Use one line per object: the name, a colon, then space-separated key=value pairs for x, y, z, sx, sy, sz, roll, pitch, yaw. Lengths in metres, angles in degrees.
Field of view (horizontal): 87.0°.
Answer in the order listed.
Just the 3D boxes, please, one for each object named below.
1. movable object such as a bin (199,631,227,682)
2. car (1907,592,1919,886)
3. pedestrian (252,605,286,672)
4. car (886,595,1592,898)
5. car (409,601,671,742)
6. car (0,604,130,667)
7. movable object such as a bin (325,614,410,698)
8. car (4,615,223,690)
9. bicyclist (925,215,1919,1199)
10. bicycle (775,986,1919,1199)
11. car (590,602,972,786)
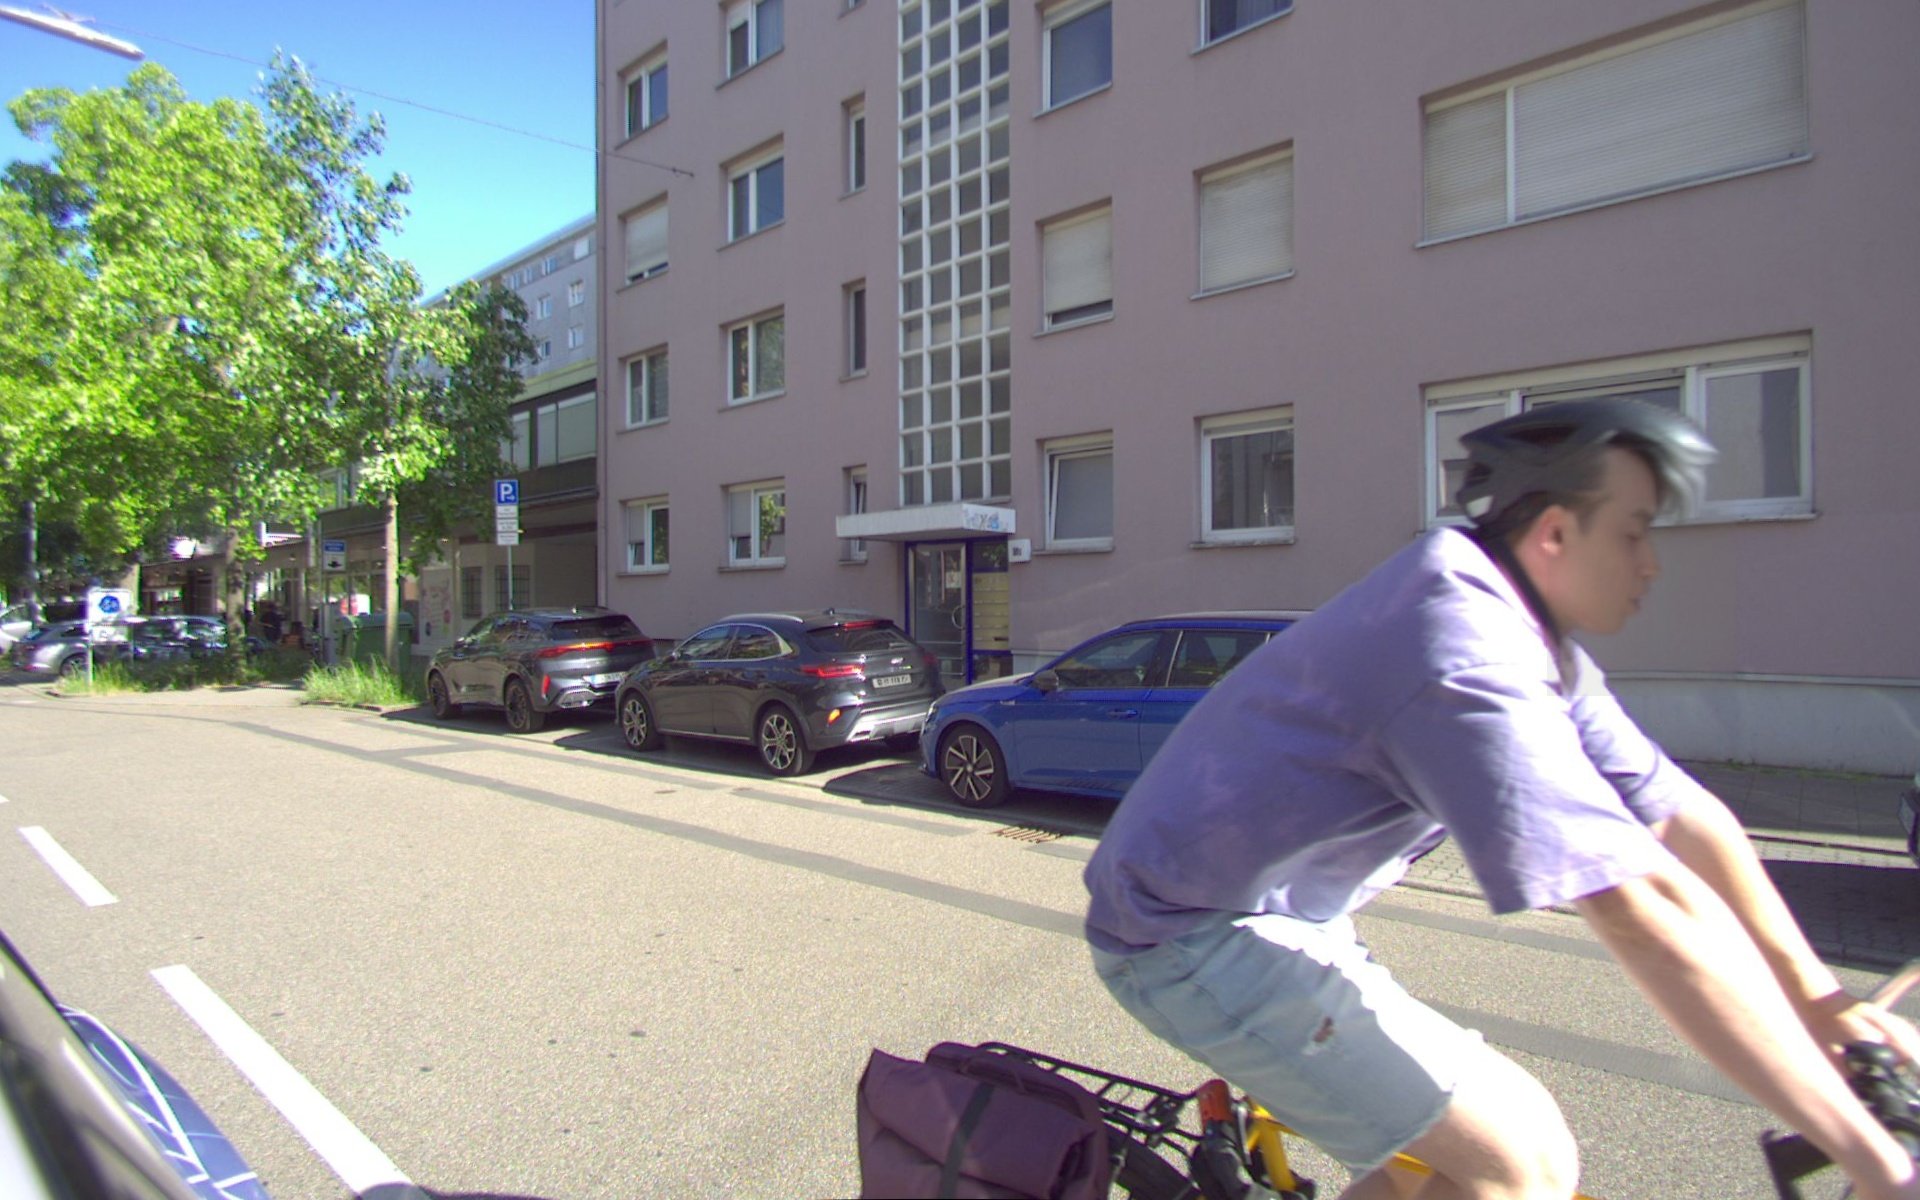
movable object such as a bin: x=-18.482 y=1.387 z=25.029 sx=0.409 sy=1.234 sz=0.482 roll=-1 pitch=-1 yaw=41
car: x=6.351 y=0.683 z=3.184 sx=4.812 sy=1.476 sz=1.700 roll=-1 pitch=1 yaw=41
pedestrian: x=-21.026 y=1.157 z=30.800 sx=0.566 sy=2.029 sz=0.743 roll=-1 pitch=-1 yaw=41
car: x=1.707 y=0.782 z=7.298 sx=4.610 sy=1.476 sz=1.699 roll=-1 pitch=1 yaw=41
car: x=-6.047 y=0.898 z=14.337 sx=4.141 sy=1.604 sz=1.798 roll=-1 pitch=2 yaw=43
car: x=-31.278 y=1.174 z=34.832 sx=1.999 sy=2.047 sz=3.945 roll=-1 pitch=-1 yaw=41
movable object such as a bin: x=-11.570 y=1.069 z=19.779 sx=1.230 sy=1.557 sz=1.019 roll=0 pitch=-1 yaw=-44
car: x=-20.966 y=1.231 z=25.174 sx=1.999 sy=1.687 sz=3.945 roll=-1 pitch=-1 yaw=41
bicyclist: x=0.557 y=0.427 z=1.127 sx=1.016 sy=1.357 sz=0.603 roll=-2 pitch=-2 yaw=35
bicycle: x=0.668 y=1.114 z=1.050 sx=1.810 sy=0.888 sz=0.605 roll=-2 pitch=-2 yaw=36
car: x=-2.058 y=0.845 z=10.820 sx=4.245 sy=1.519 sz=1.798 roll=-1 pitch=1 yaw=43
